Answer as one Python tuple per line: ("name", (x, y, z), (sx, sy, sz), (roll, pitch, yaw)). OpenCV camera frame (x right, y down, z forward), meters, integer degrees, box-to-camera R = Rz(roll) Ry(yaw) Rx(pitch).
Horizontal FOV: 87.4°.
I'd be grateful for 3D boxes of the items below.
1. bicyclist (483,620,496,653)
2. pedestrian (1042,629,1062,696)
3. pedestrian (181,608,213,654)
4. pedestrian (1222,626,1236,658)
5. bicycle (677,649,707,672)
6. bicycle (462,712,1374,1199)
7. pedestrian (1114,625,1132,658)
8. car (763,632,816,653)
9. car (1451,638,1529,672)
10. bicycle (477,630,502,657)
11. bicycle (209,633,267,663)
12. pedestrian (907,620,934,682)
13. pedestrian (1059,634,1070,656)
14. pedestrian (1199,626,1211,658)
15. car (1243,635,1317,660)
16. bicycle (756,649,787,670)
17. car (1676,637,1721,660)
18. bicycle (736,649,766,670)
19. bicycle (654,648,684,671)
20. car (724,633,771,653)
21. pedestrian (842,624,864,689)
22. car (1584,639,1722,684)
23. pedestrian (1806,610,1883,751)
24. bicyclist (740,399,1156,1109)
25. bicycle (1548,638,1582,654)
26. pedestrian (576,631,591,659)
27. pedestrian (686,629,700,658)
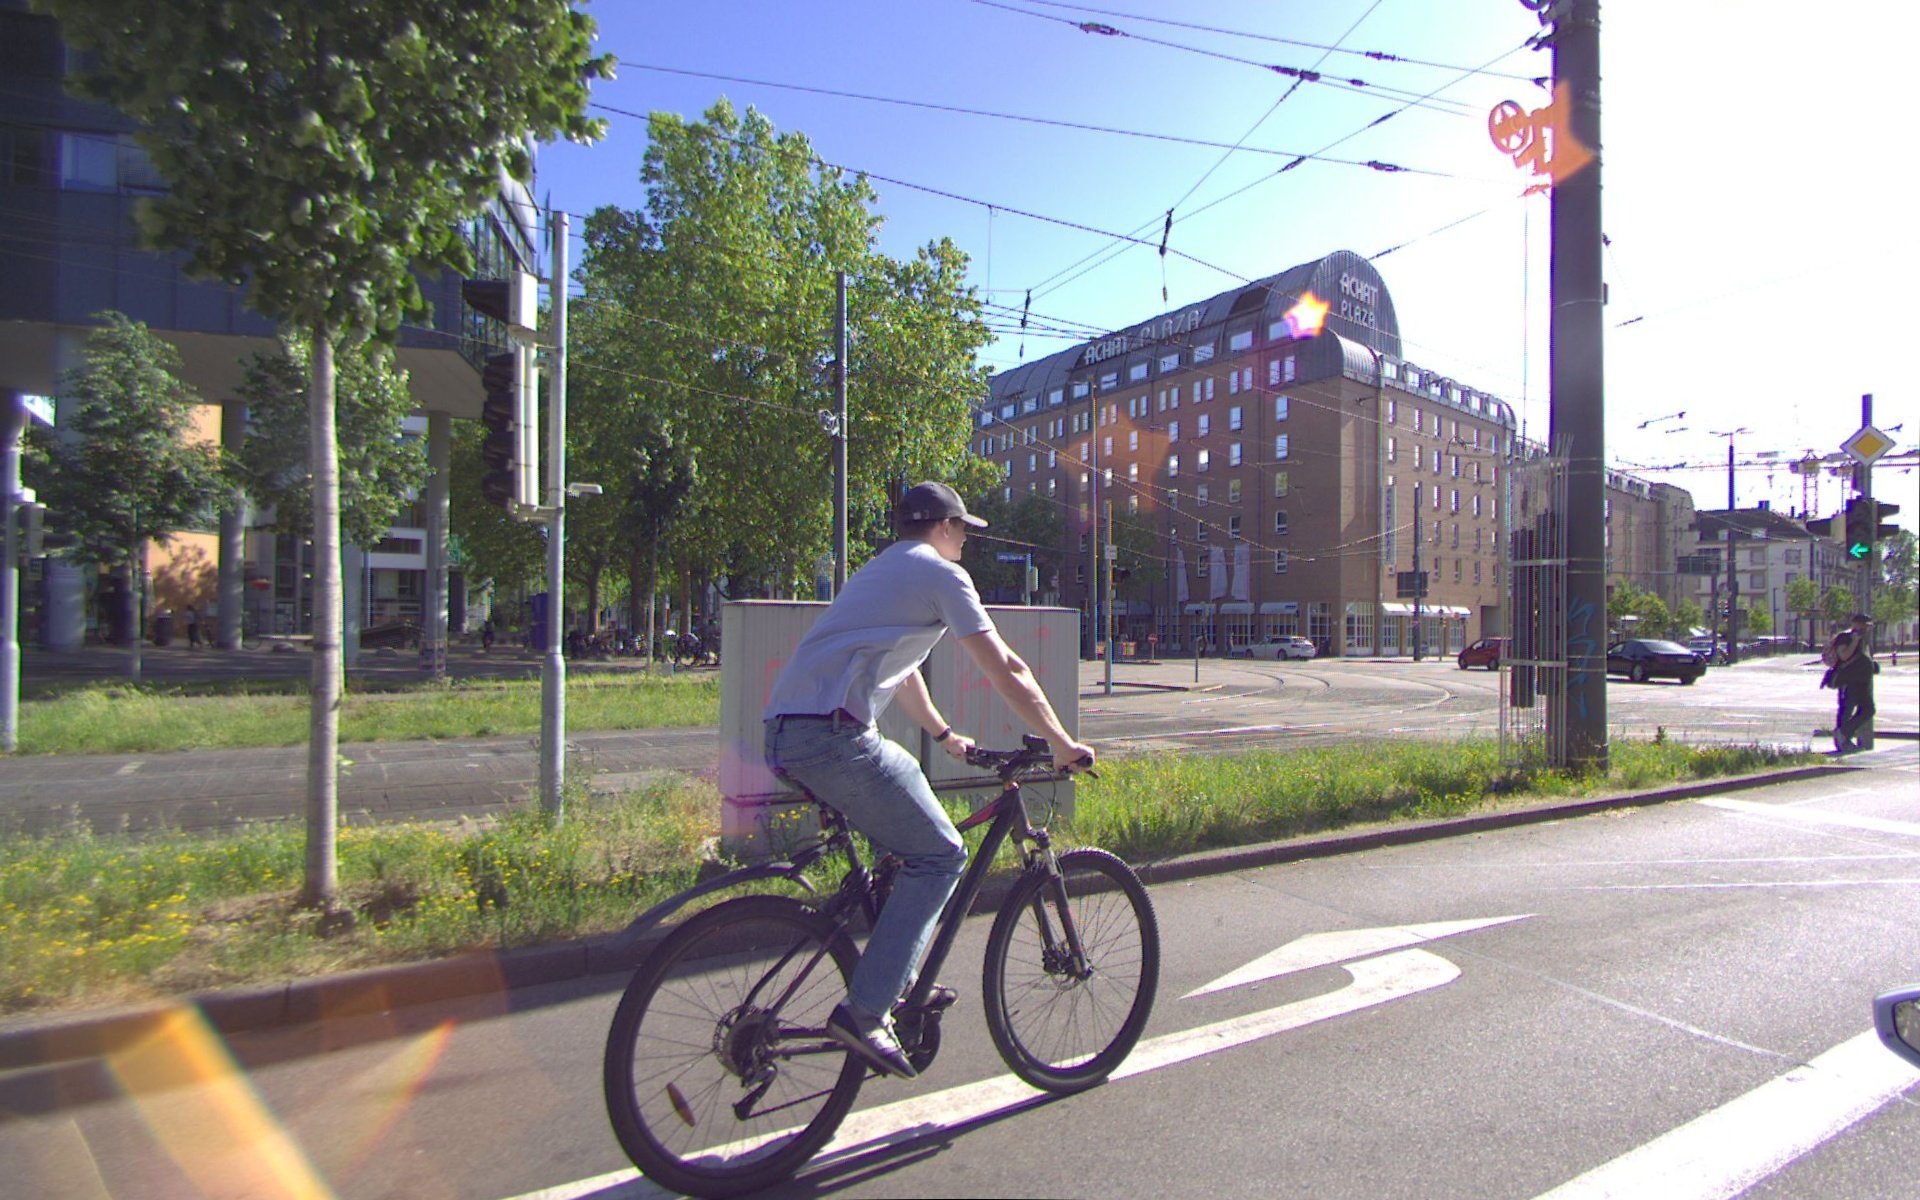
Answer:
("bicyclist", (-24.476, 1.892, 52.297), (0.462, 1.744, 0.479), (2, -2, -43))
("pedestrian", (2.617, 1.767, 28.545), (0.379, 1.855, 0.463), (0, -1, 29))
("pedestrian", (-27.497, 1.114, 36.189), (0.779, 1.645, 0.504), (3, -2, -30))
("pedestrian", (16.397, 2.567, 61.173), (0.746, 1.957, 0.518), (2, -2, -42))
("bicycle", (-10.598, 2.377, 39.677), (0.372, 0.809, 2.009), (2, -2, -38))
("bicycle", (0.035, 0.956, 2.971), (2.664, 1.084, 0.683), (1, 0, -29))
("pedestrian", (9.732, 2.452, 59.972), (0.899, 1.957, 0.695), (2, -2, -42))
("car", (-9.803, 2.420, 57.595), (1.761, 1.158, 3.968), (1, -2, -30))
("car", (24.603, 2.528, 46.737), (1.626, 1.468, 3.584), (1, -2, -3))
("bicycle", (-24.497, 2.255, 52.310), (0.462, 1.370, 2.342), (2, -2, -42))
("bicycle", (-28.563, 1.887, 39.758), (1.782, 1.149, 0.490), (1, -1, -31))
("pedestrian", (-1.214, 1.545, 30.758), (0.615, 1.855, 0.760), (1, -1, -20))
("pedestrian", (9.488, 4.069, 90.957), (0.826, 1.957, 0.554), (2, -2, -39))
("pedestrian", (15.082, 2.598, 61.900), (0.520, 1.957, 0.523), (1, -1, -16))
("car", (19.371, 2.853, 60.958), (2.036, 1.399, 4.392), (1, -2, -20))
("bicycle", (-7.917, 2.474, 42.134), (0.372, 0.809, 2.009), (2, -2, -38))
("car", (49.114, 3.201, 66.812), (3.890, 1.416, 1.596), (1, -5, -42))
("bicycle", (-8.610, 2.438, 41.285), (0.372, 0.809, 2.009), (2, -2, -38))
("bicycle", (-11.266, 2.282, 38.825), (0.372, 0.809, 2.009), (2, -2, -38))
("car", (-13.391, 2.664, 63.053), (1.761, 1.158, 3.968), (1, -2, -30))
("pedestrian", (-3.101, 1.626, 29.035), (0.453, 1.855, 0.458), (0, -1, 23))
("car", (24.930, 2.172, 36.350), (1.699, 1.468, 4.520), (1, -2, -3))
("pedestrian", (11.558, 1.026, 13.130), (0.763, 1.776, 0.663), (2, -2, -42))
("bicyclist", (-0.040, 0.375, 2.907), (1.007, 1.692, 0.615), (1, 0, -29))
("bicycle", (52.560, 4.022, 87.299), (0.725, 1.327, 2.472), (2, -2, -31))
("pedestrian", (-17.662, 2.127, 47.129), (0.542, 1.310, 0.425), (2, -2, -38))
("pedestrian", (-13.239, 2.154, 49.817), (0.491, 1.471, 0.648), (1, -1, -3))
